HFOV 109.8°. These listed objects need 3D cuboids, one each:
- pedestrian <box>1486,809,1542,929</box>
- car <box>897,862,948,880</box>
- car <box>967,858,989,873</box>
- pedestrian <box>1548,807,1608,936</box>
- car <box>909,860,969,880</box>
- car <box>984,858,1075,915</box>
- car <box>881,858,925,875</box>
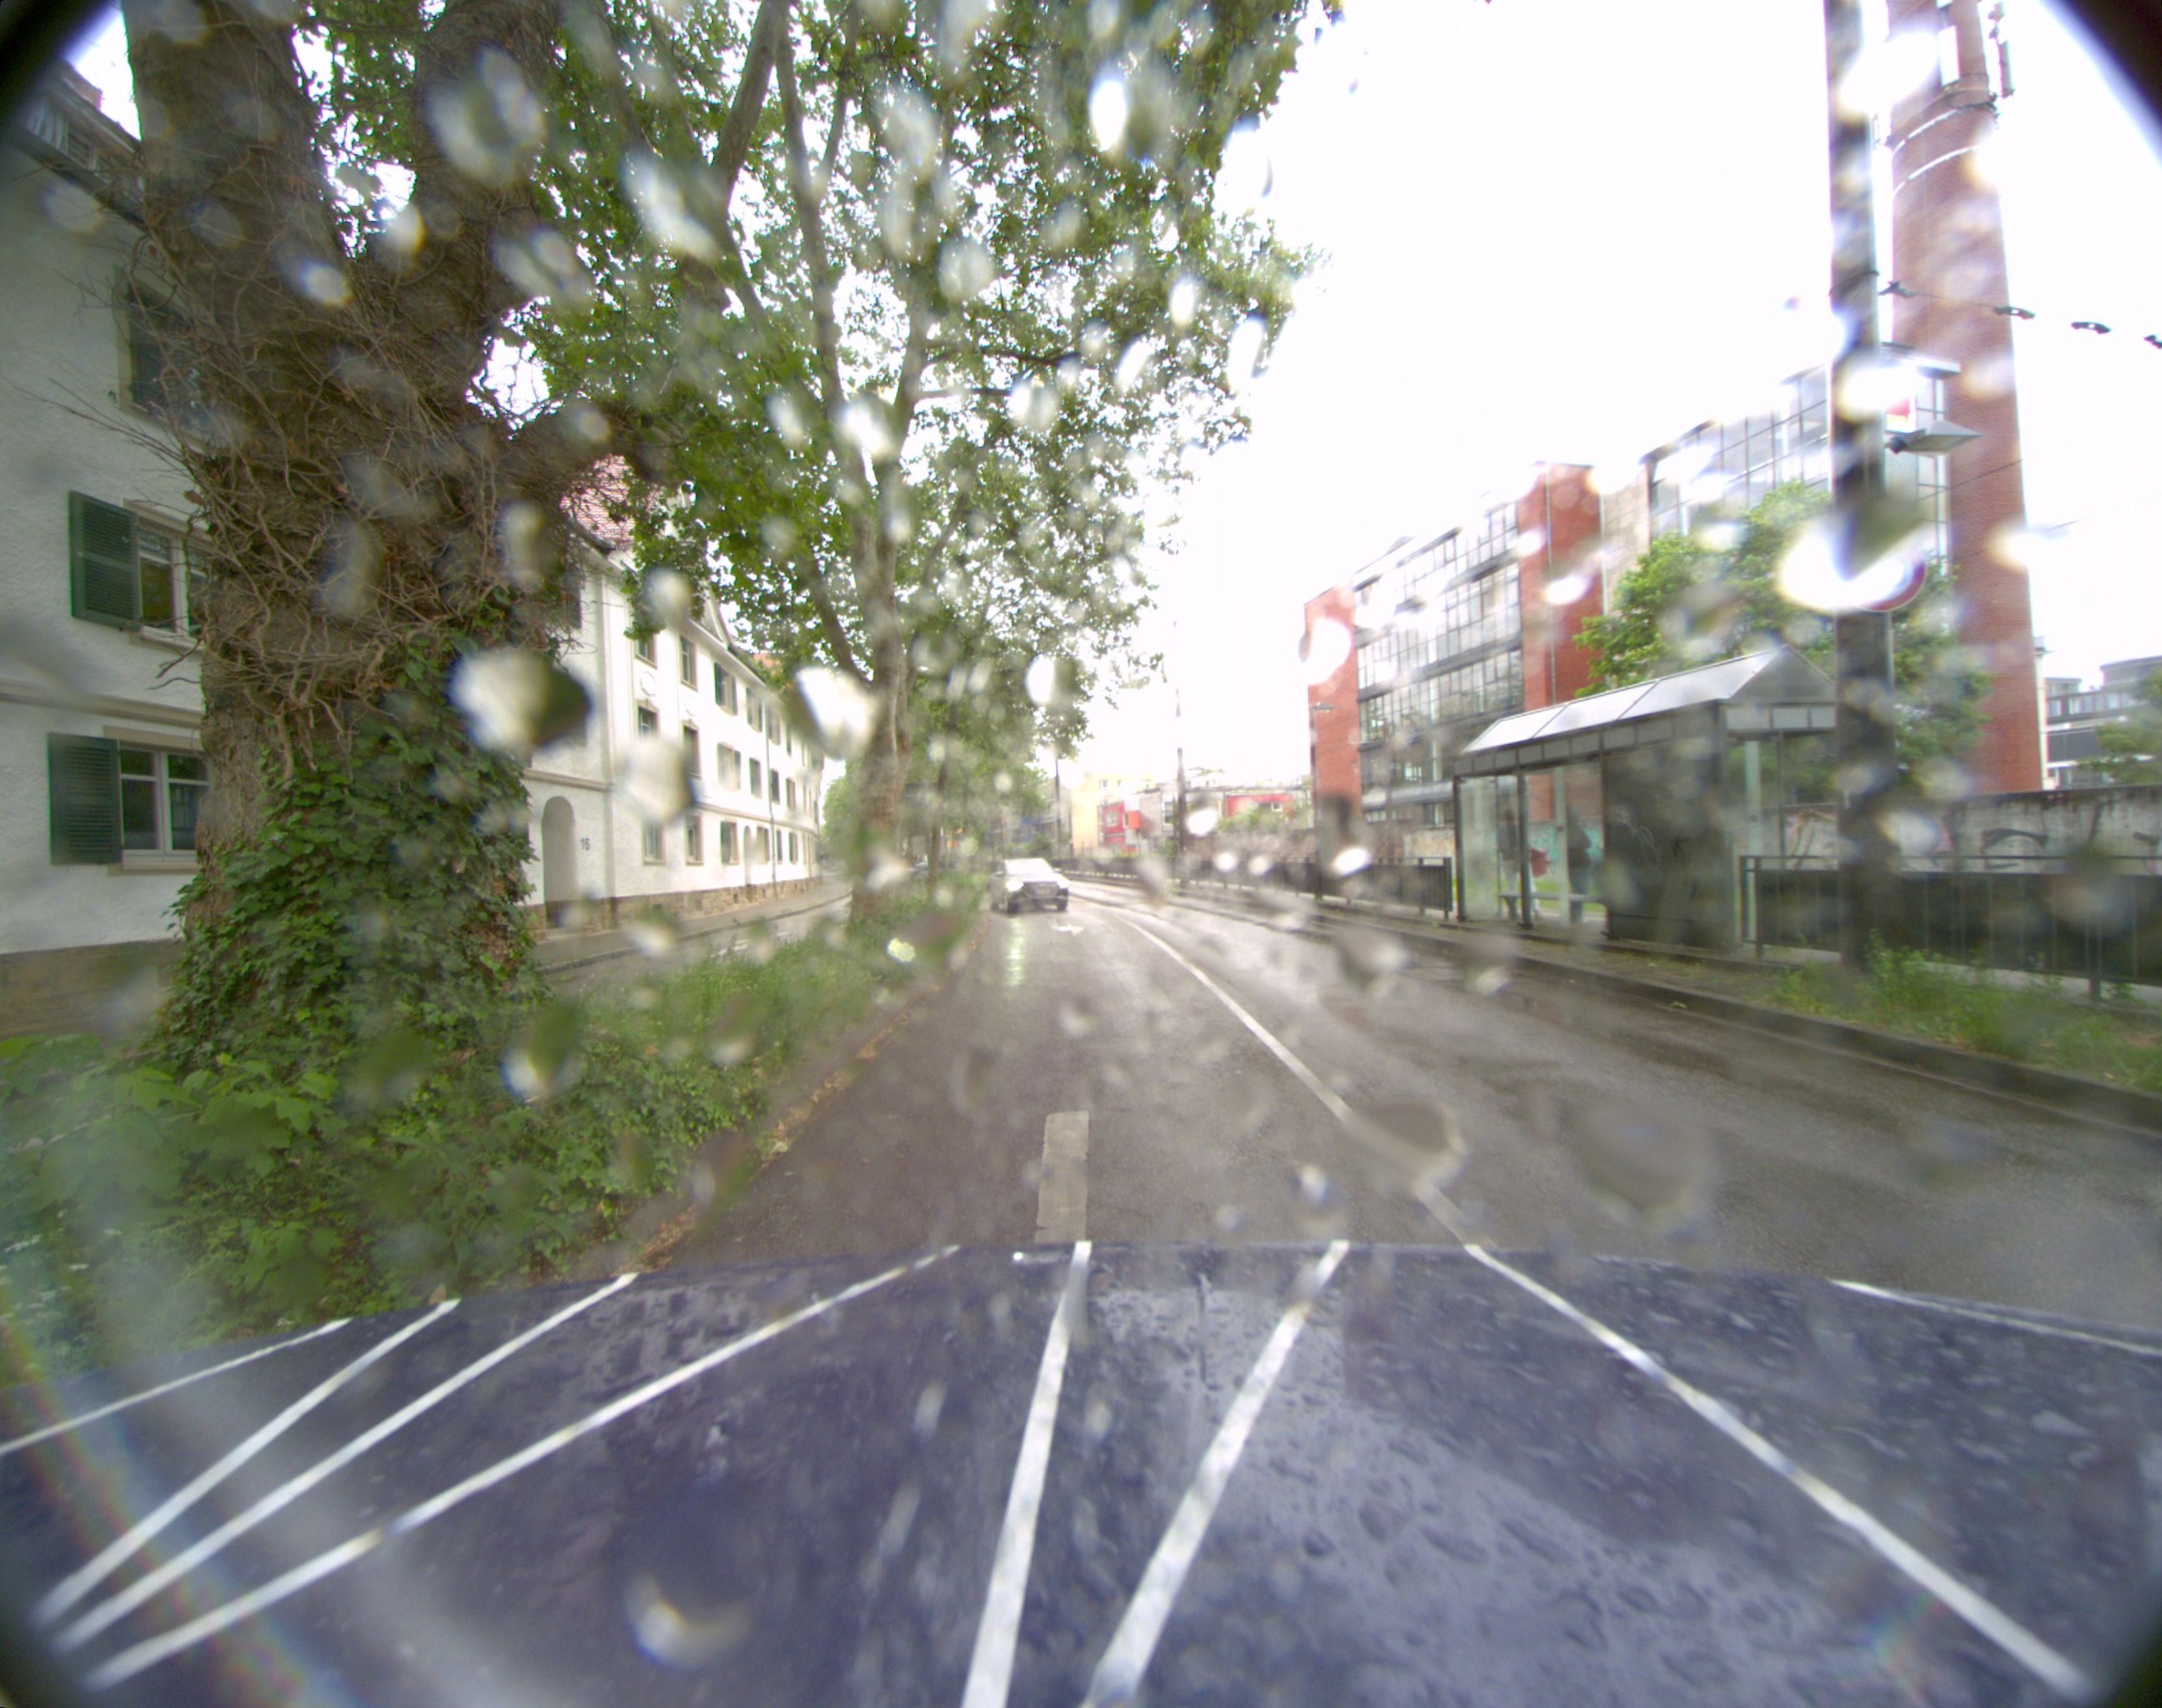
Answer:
[{"bbox_3d":[6.458,0.219,11.334,0.584,1.721,0.566,-1,1,-41],"label":"pedestrian"},{"bbox_3d":[-14.623,1.585,70.229,4.328,1.603,1.749,-1,0,6],"label":"car"},{"bbox_3d":[-11.842,1.296,87.110,1.694,1.713,3.685,-1,0,-20],"label":"car"},{"bbox_3d":[6.911,0.231,10.563,0.584,1.721,0.566,-1,1,-43],"label":"pedestrian"},{"bbox_3d":[-11.176,1.274,59.901,4.224,1.532,1.932,-1,0,11],"label":"car"},{"bbox_3d":[-1.730,0.947,24.047,1.853,1.586,4.210,-2,0,-18],"label":"car"},{"bbox_3d":[-22.194,1.586,94.809,4.884,2.002,2.002,-1,0,11],"label":"car"}]
